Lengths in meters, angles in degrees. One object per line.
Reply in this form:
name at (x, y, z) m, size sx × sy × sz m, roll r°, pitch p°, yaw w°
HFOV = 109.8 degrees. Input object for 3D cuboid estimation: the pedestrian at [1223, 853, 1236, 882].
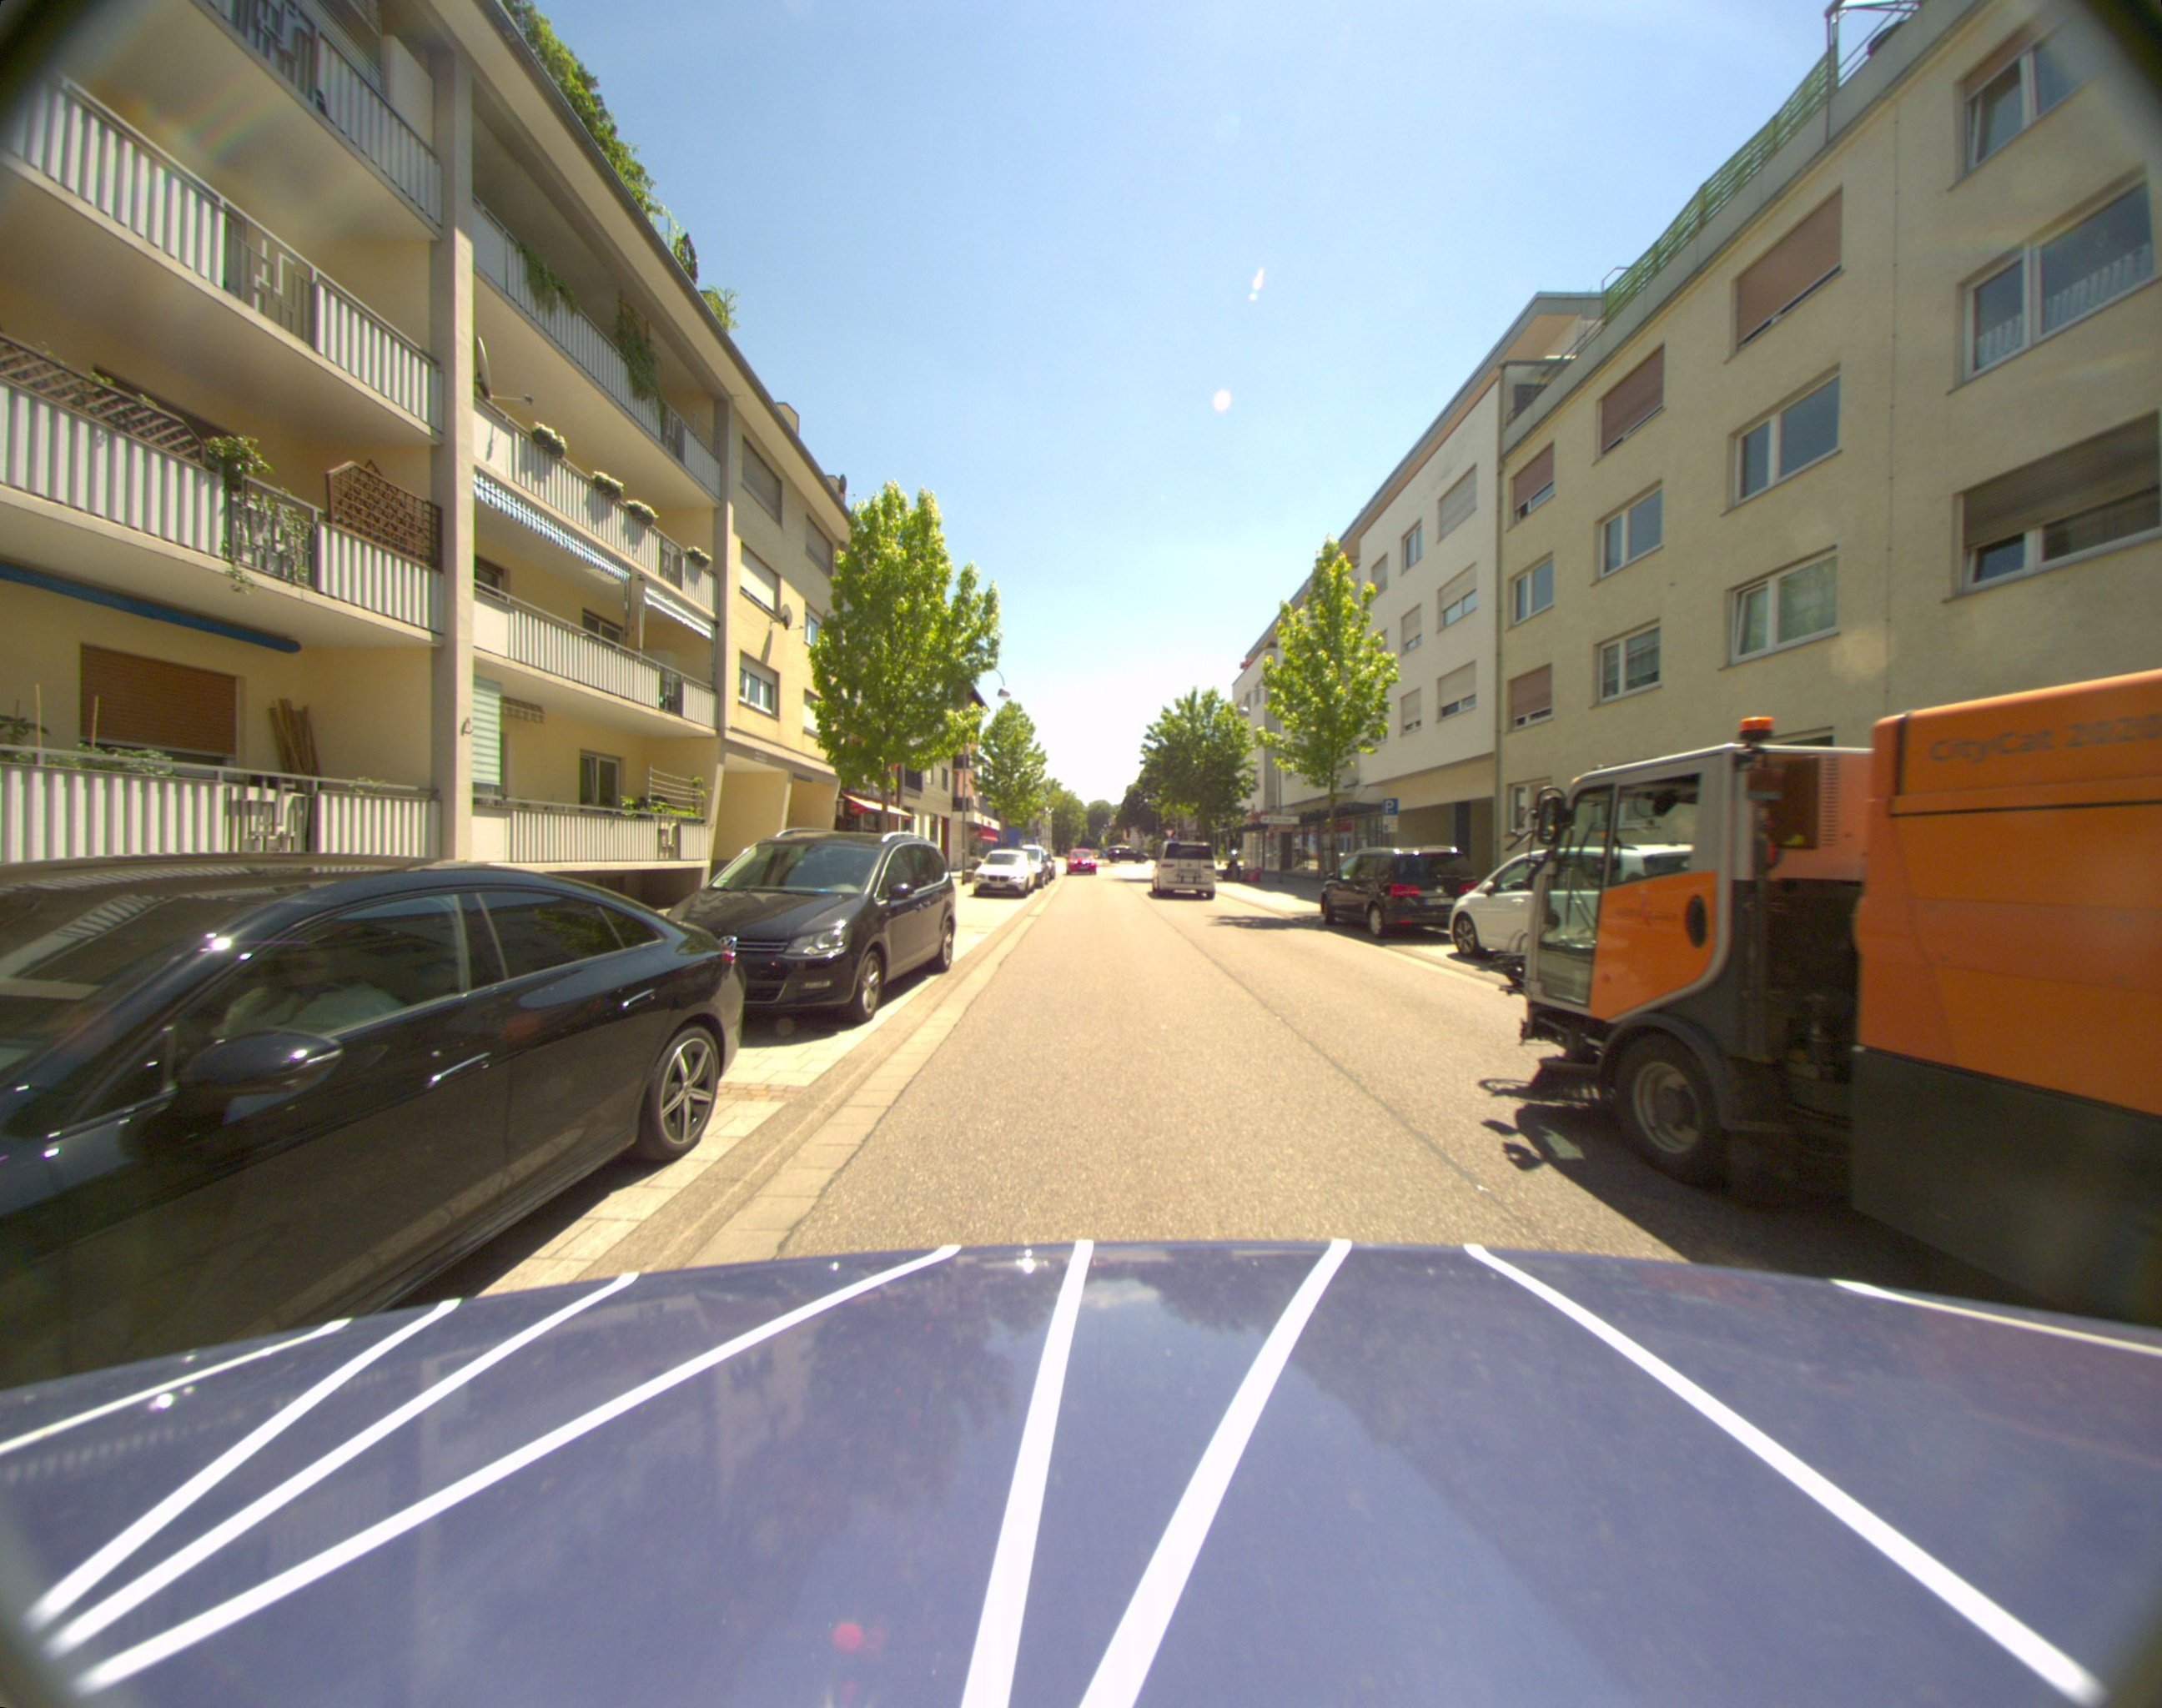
pedestrian at (7.263, 0.637, 37.080) m, size 0.568 × 1.364 × 0.667 m, roll 1°, pitch 2°, yaw 10°

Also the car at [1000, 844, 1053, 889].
car at (-2.227, 0.476, 32.183) m, size 1.768 × 1.696 × 4.705 m, roll 2°, pitch 1°, yaw 1°

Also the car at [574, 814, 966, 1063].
car at (-2.665, 0.668, 7.930) m, size 1.998 × 1.788 × 4.570 m, roll 2°, pitch -1°, yaw 3°

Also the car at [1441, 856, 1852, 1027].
car at (6.482, 0.841, 9.500) m, size 1.829 × 1.610 × 4.392 m, roll -1°, pitch 0°, yaw -1°

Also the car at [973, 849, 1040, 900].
car at (-2.494, 0.646, 26.442) m, size 1.726 × 1.574 × 4.225 m, roll 2°, pitch 1°, yaw 2°

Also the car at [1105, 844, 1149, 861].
car at (4.601, -0.153, 76.413) m, size 4.001 × 1.554 × 1.803 m, roll 2°, pitch -2°, yaw -10°

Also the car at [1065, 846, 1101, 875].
car at (0.086, 0.363, 45.496) m, size 1.834 × 1.525 × 3.997 m, roll -2°, pitch 2°, yaw -4°

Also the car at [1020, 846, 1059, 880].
car at (-1.998, 0.412, 37.085) m, size 1.626 × 1.550 × 3.840 m, roll 1°, pitch 1°, yaw 1°

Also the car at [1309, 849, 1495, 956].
car at (6.103, 0.818, 15.078) m, size 1.733 × 1.730 × 4.392 m, roll -2°, pitch 0°, yaw -1°

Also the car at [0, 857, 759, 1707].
car at (-2.875, 0.840, 2.148) m, size 1.899 × 1.521 × 4.568 m, roll 2°, pitch 1°, yaw 1°

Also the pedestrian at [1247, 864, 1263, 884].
pedestrian at (8.311, 0.945, 36.258) m, size 0.666 × 0.854 × 0.733 m, roll 1°, pitch 5°, yaw 10°

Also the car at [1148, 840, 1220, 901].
car at (3.536, 0.507, 27.035) m, size 1.911 × 1.911 × 4.905 m, roll 2°, pitch 1°, yaw 1°

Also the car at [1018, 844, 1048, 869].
car at (-3.500, 0.144, 55.063) m, size 1.753 × 1.714 × 3.906 m, roll 2°, pitch 1°, yaw -9°

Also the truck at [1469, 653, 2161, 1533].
truck at (3.519, 0.592, 2.749) m, size 1.809 × 2.105 × 4.715 m, roll 2°, pitch 0°, yaw 1°
